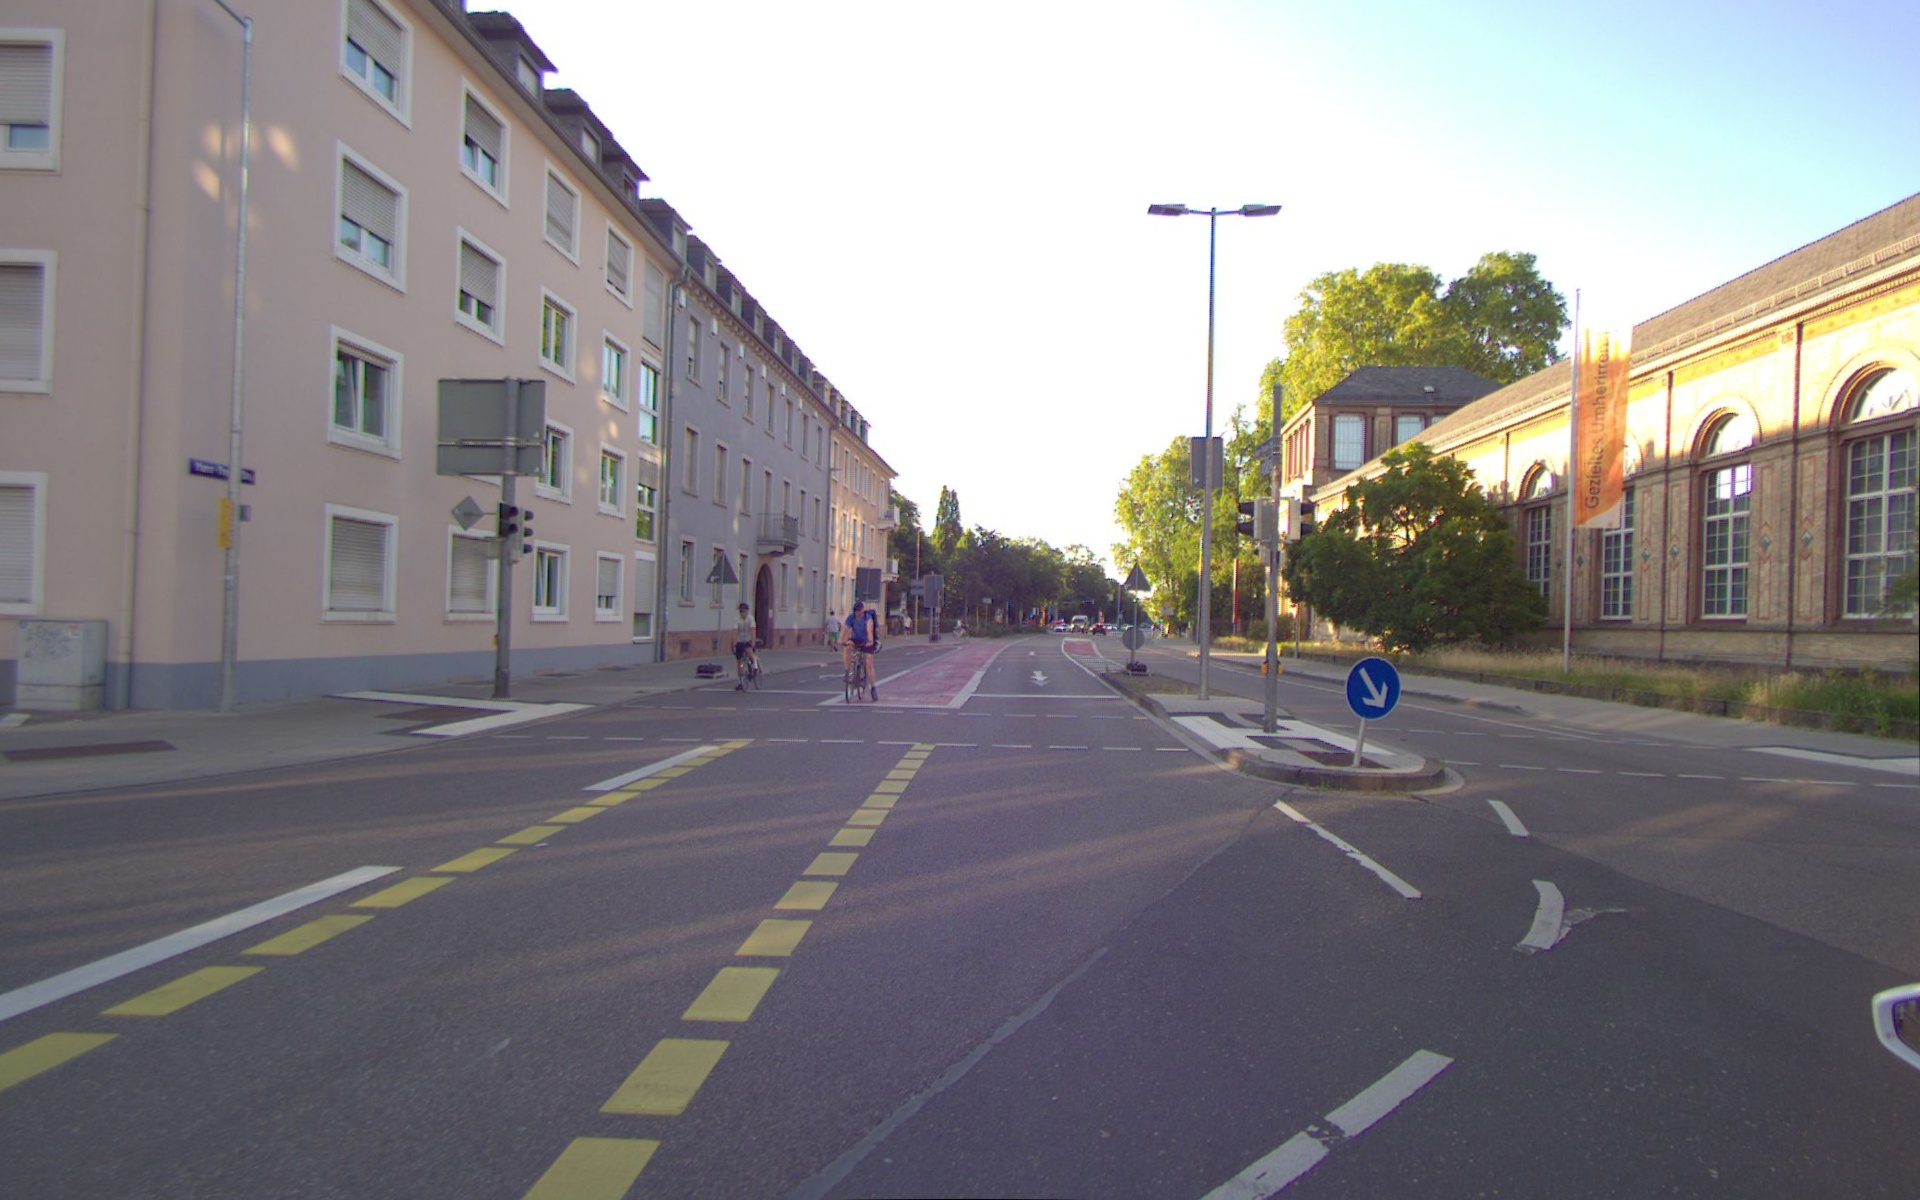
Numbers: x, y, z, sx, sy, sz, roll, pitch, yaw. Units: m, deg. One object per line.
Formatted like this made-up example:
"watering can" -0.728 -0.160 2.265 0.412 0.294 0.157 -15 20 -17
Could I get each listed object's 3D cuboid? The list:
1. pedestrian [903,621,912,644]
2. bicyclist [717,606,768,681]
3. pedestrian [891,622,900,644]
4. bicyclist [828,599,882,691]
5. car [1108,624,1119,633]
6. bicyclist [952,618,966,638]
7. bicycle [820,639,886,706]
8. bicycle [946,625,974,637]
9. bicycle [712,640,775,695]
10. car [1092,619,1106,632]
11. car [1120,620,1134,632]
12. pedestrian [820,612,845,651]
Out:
"pedestrian" -3.747 2.315 71.540 0.605 1.595 0.724 1 -1 -2
"bicyclist" -4.356 0.859 20.148 0.698 1.459 0.895 1 -1 7
"pedestrian" -4.572 2.369 71.407 0.605 1.554 0.690 1 -1 -2
"bicyclist" -1.853 0.791 17.853 0.698 1.565 1.126 1 -1 7
"car" 30.334 5.558 198.650 1.959 1.743 4.003 1 -1 11
"bicyclist" -0.099 2.294 82.751 0.861 1.617 0.749 2 -1 -26
"bicycle" -1.863 1.252 17.843 0.708 1.081 2.003 1 -1 7
"bicycle" 0.003 2.587 82.809 2.166 0.941 0.768 2 -1 -27
"bicycle" -4.358 1.343 20.328 0.708 1.024 1.690 1 -1 7
"car" 19.550 3.611 141.412 1.959 1.743 4.003 1 -1 7
"car" 25.203 3.949 151.230 1.959 1.743 4.003 1 -1 10
"pedestrian" -5.639 1.412 44.485 0.860 1.674 0.811 2 -4 5
